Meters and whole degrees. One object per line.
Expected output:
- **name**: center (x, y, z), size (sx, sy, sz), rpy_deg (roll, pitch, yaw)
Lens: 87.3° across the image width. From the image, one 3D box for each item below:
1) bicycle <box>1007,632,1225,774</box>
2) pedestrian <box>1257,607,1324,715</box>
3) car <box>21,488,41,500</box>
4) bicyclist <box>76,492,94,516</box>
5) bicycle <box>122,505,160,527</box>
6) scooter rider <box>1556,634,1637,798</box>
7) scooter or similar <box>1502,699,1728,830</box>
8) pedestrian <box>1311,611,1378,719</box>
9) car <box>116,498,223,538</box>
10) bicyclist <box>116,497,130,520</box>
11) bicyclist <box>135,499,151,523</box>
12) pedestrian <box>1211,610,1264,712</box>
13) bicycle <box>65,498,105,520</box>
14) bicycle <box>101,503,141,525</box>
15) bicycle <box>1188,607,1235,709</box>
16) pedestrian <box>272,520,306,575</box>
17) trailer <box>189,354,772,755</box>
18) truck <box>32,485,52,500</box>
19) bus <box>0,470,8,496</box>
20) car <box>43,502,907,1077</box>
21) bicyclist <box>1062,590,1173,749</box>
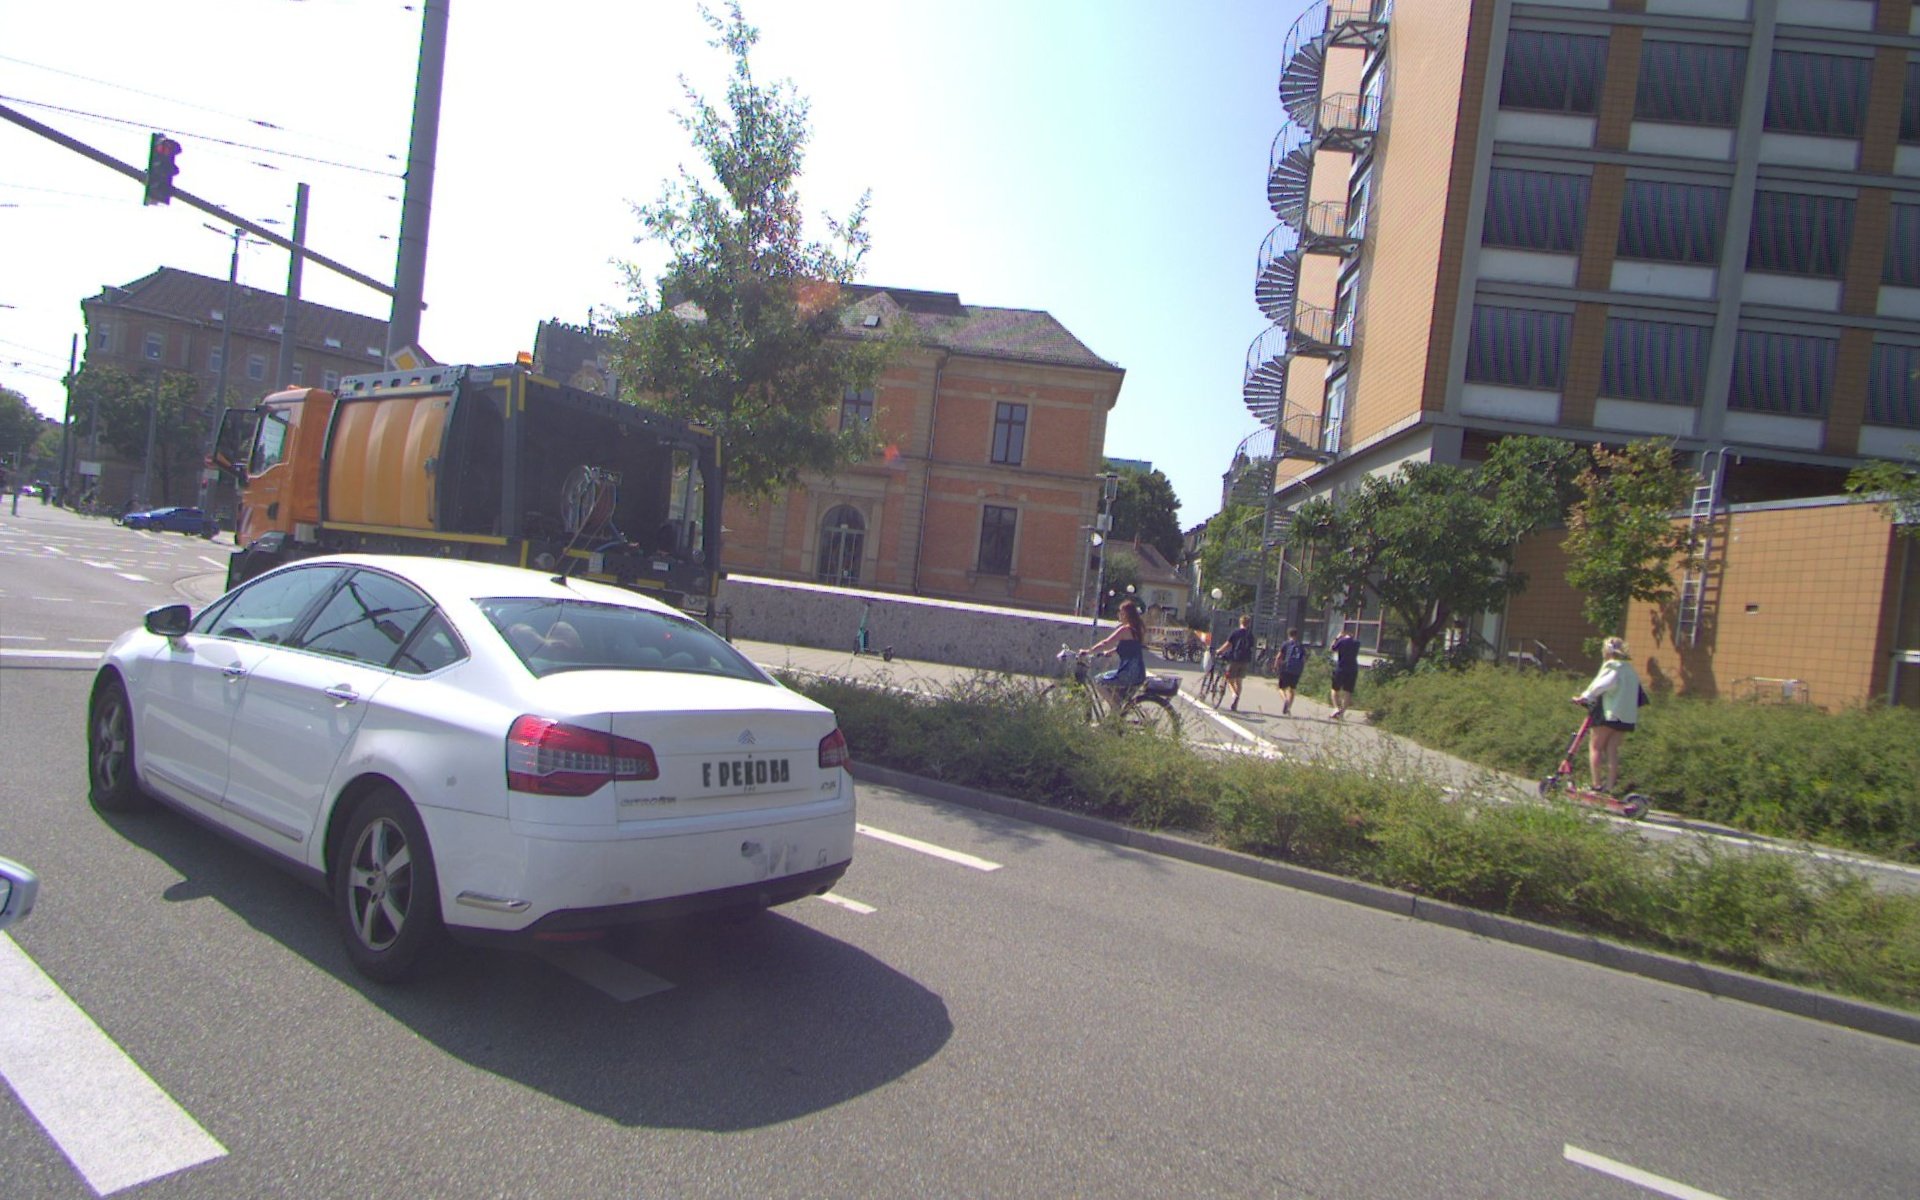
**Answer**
- **bicycle**: center (1.681, 1.089, 11.235), size (2.339, 1.170, 0.691), rpy_deg (8, 3, 44)
- **pedestrian**: center (6.420, 1.184, 19.542), size (0.774, 1.998, 0.745), rpy_deg (5, 2, -41)
- **car**: center (-139.086, -15.897, 150.656), size (1.988, 1.502, 3.949), rpy_deg (6, 0, -45)
- **bicyclist**: center (-50.142, -5.501, 57.640), size (0.499, 1.263, 0.594), rpy_deg (7, 1, 36)
- **bicycle**: center (-46.671, -4.778, 57.367), size (1.582, 0.997, 0.502), rpy_deg (7, 1, -36)
- **scooter rider**: center (7.105, 1.277, 11.221), size (0.531, 1.721, 0.670), rpy_deg (7, 1, 38)
- **scooter or similar**: center (7.196, 1.768, 11.121), size (1.974, 1.073, 0.556), rpy_deg (5, -1, 38)
- **pedestrian**: center (7.563, 1.282, 19.803), size (0.774, 1.998, 0.745), rpy_deg (5, 2, -41)
- **car**: center (-40.484, -4.186, 51.598), size (1.702, 1.437, 3.905), rpy_deg (7, 0, 23)
- **bicyclist**: center (-45.980, -5.026, 55.289), size (0.501, 1.203, 0.501), rpy_deg (6, 1, -39)
- **bicyclist**: center (-46.609, -5.077, 57.385), size (0.590, 1.263, 0.502), rpy_deg (6, 1, -36)
- **pedestrian**: center (5.426, 1.180, 19.710), size (0.649, 1.884, 0.793), rpy_deg (7, 1, 6)
- **bicycle**: center (-50.162, -5.211, 57.664), size (0.499, 0.997, 1.591), rpy_deg (7, 0, 36)
- **bicycle**: center (-46.063, -4.712, 55.254), size (1.584, 0.997, 0.501), rpy_deg (7, 1, -40)
- **bicycle**: center (4.860, 1.089, 19.520), size (0.448, 1.884, 1.363), rpy_deg (6, 1, 4)
- **pedestrian**: center (-19.546, -1.527, 29.317), size (0.525, 1.496, 0.440), rpy_deg (9, 2, 11)
- **trailer**: center (-5.192, -0.524, 10.401), size (6.226, 3.044, 2.464), rpy_deg (7, -1, 36)
- **truck**: center (-147.990, -17.265, 162.159), size (2.106, 2.039, 5.042), rpy_deg (6, 1, -41)
- **bus**: center (-137.558, -16.738, 143.257), size (2.553, 3.550, 7.704), rpy_deg (6, 1, -44)
- **car**: center (-2.574, 0.494, 4.854), size (4.356, 1.473, 1.759), rpy_deg (7, 0, 35)
- **bicyclist**: center (1.746, 0.748, 11.180), size (0.832, 1.621, 0.688), rpy_deg (8, 4, 43)
